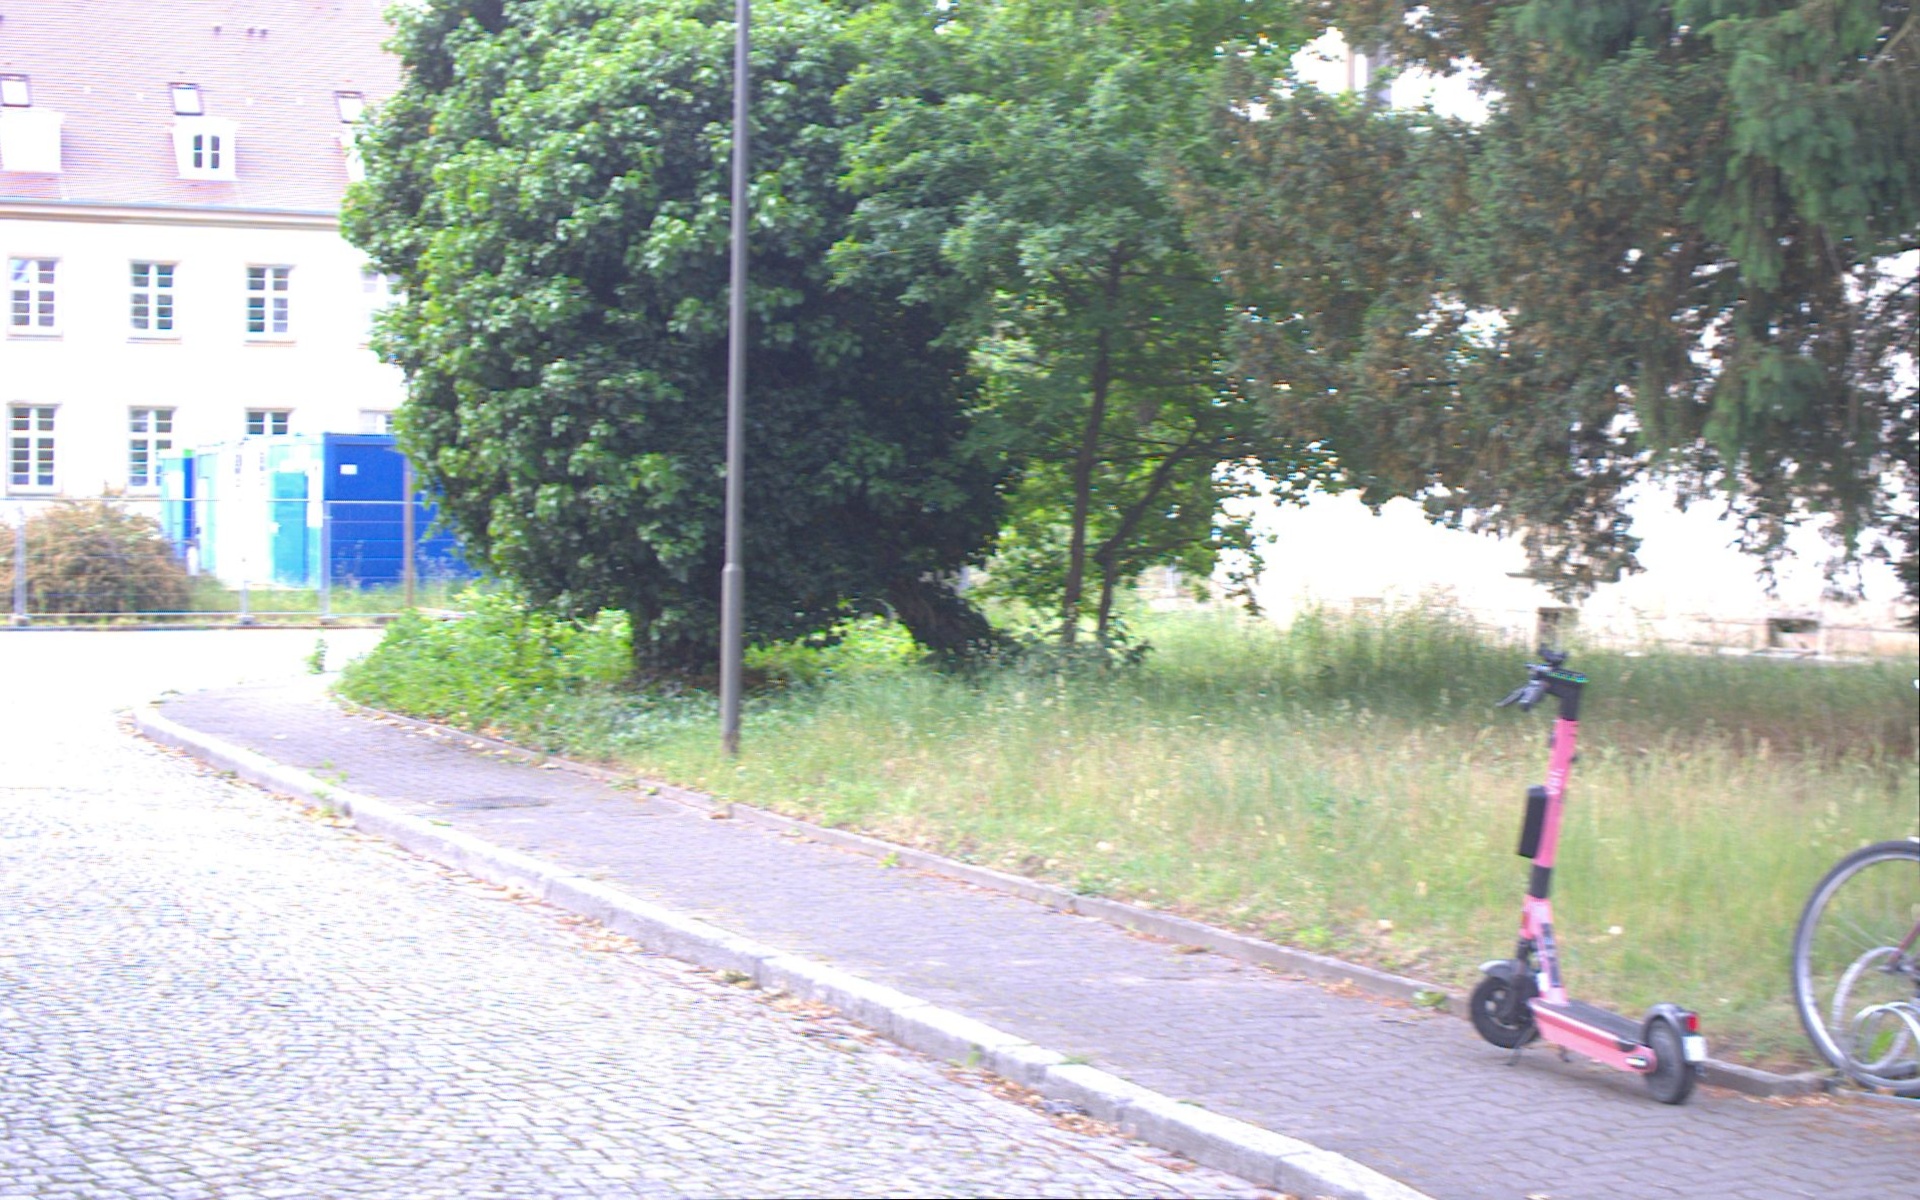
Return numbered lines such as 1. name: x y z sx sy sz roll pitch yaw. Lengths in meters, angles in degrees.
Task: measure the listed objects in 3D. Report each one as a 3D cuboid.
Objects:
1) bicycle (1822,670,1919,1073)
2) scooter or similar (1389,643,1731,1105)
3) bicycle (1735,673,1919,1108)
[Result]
1. bicycle: 3.272 0.786 9.365 0.550 1.110 1.804 0 2 -39
2. scooter or similar: 1.698 0.747 9.856 0.356 1.205 1.138 0 1 -25
3. bicycle: 2.926 0.790 9.011 0.550 1.110 1.769 0 2 -39
